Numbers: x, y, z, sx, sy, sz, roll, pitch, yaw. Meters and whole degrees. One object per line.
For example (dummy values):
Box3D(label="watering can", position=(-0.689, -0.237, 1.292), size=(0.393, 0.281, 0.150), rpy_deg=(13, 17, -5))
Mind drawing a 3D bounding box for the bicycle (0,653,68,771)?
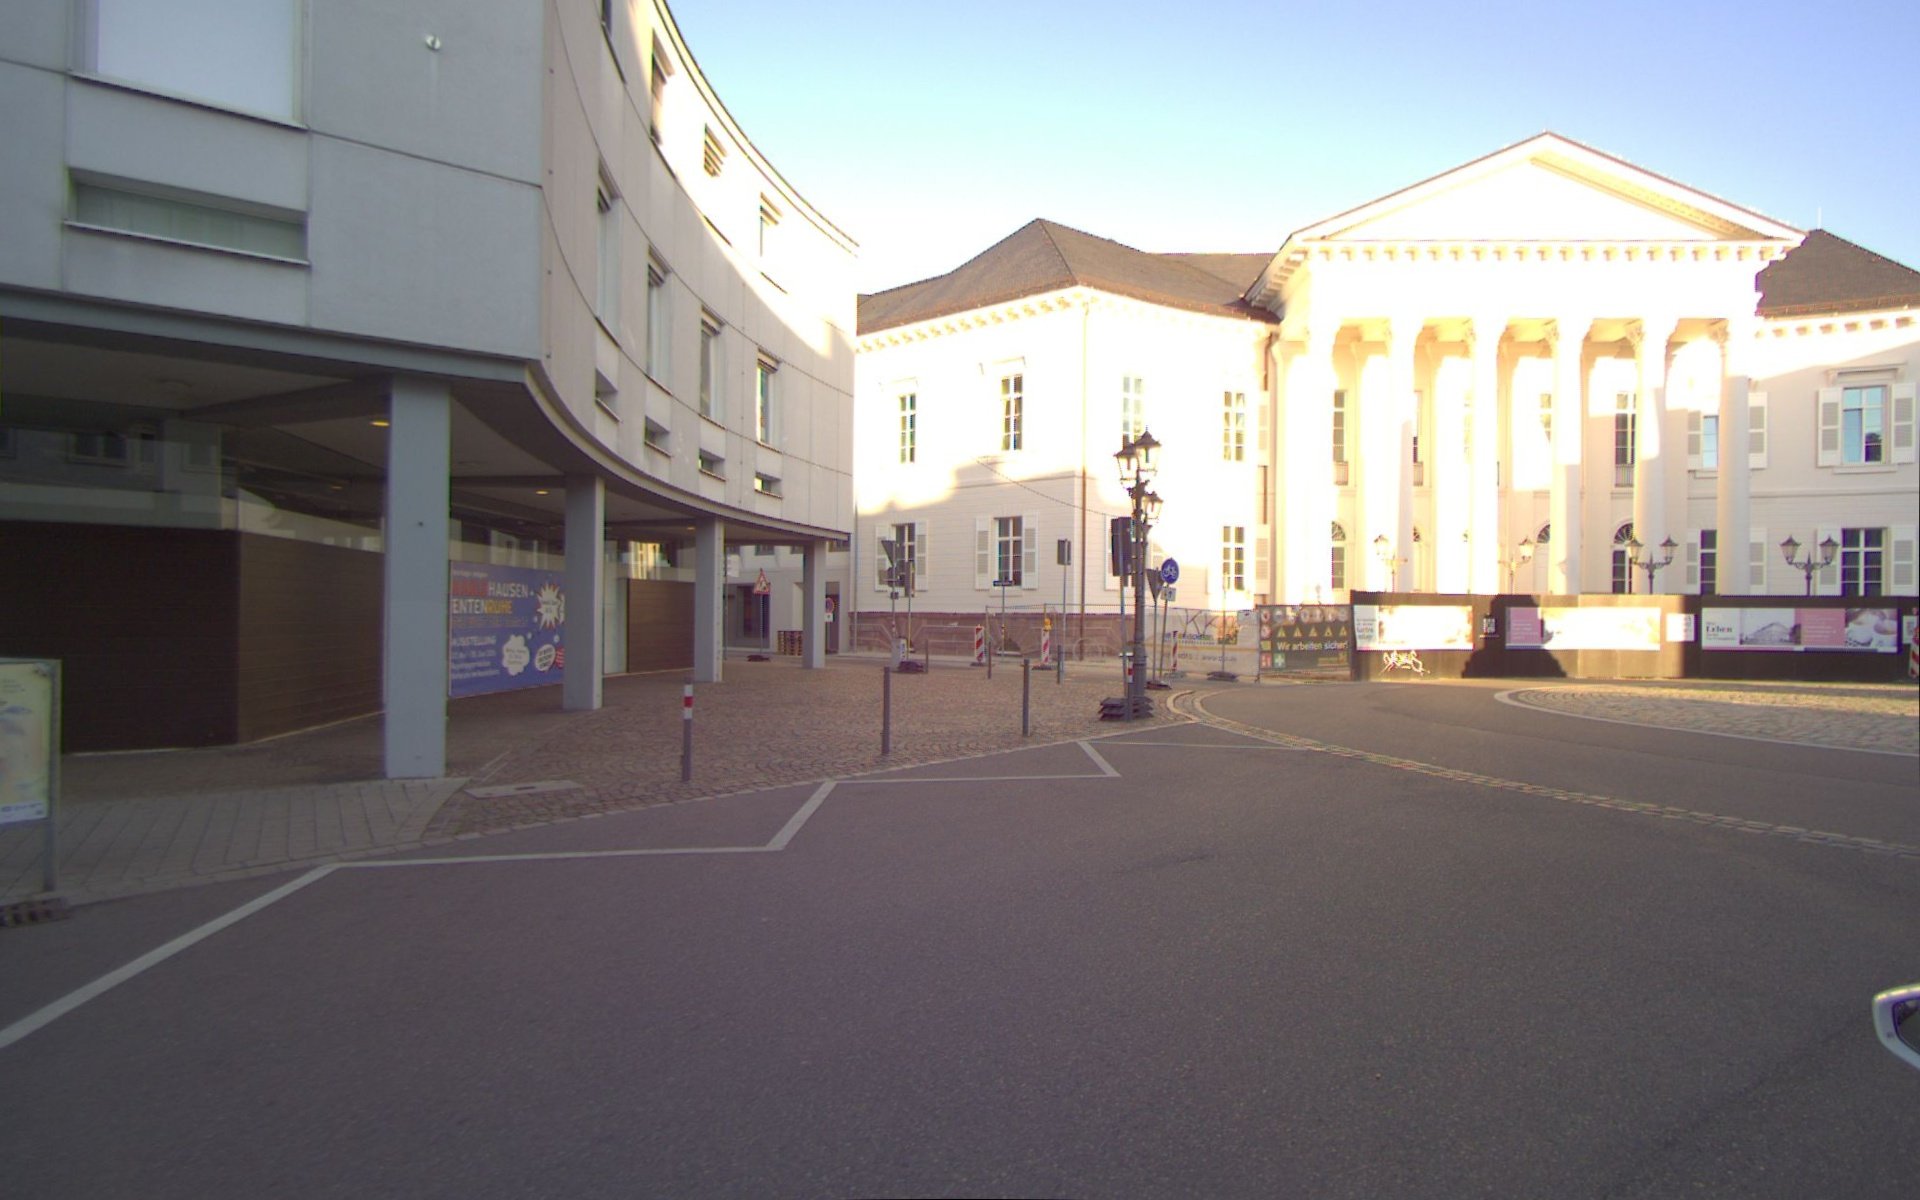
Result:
Box3D(label="bicycle", position=(-9.240, 0.981, 8.593), size=(2.312, 0.997, 0.728), rpy_deg=(1, 0, -35))
